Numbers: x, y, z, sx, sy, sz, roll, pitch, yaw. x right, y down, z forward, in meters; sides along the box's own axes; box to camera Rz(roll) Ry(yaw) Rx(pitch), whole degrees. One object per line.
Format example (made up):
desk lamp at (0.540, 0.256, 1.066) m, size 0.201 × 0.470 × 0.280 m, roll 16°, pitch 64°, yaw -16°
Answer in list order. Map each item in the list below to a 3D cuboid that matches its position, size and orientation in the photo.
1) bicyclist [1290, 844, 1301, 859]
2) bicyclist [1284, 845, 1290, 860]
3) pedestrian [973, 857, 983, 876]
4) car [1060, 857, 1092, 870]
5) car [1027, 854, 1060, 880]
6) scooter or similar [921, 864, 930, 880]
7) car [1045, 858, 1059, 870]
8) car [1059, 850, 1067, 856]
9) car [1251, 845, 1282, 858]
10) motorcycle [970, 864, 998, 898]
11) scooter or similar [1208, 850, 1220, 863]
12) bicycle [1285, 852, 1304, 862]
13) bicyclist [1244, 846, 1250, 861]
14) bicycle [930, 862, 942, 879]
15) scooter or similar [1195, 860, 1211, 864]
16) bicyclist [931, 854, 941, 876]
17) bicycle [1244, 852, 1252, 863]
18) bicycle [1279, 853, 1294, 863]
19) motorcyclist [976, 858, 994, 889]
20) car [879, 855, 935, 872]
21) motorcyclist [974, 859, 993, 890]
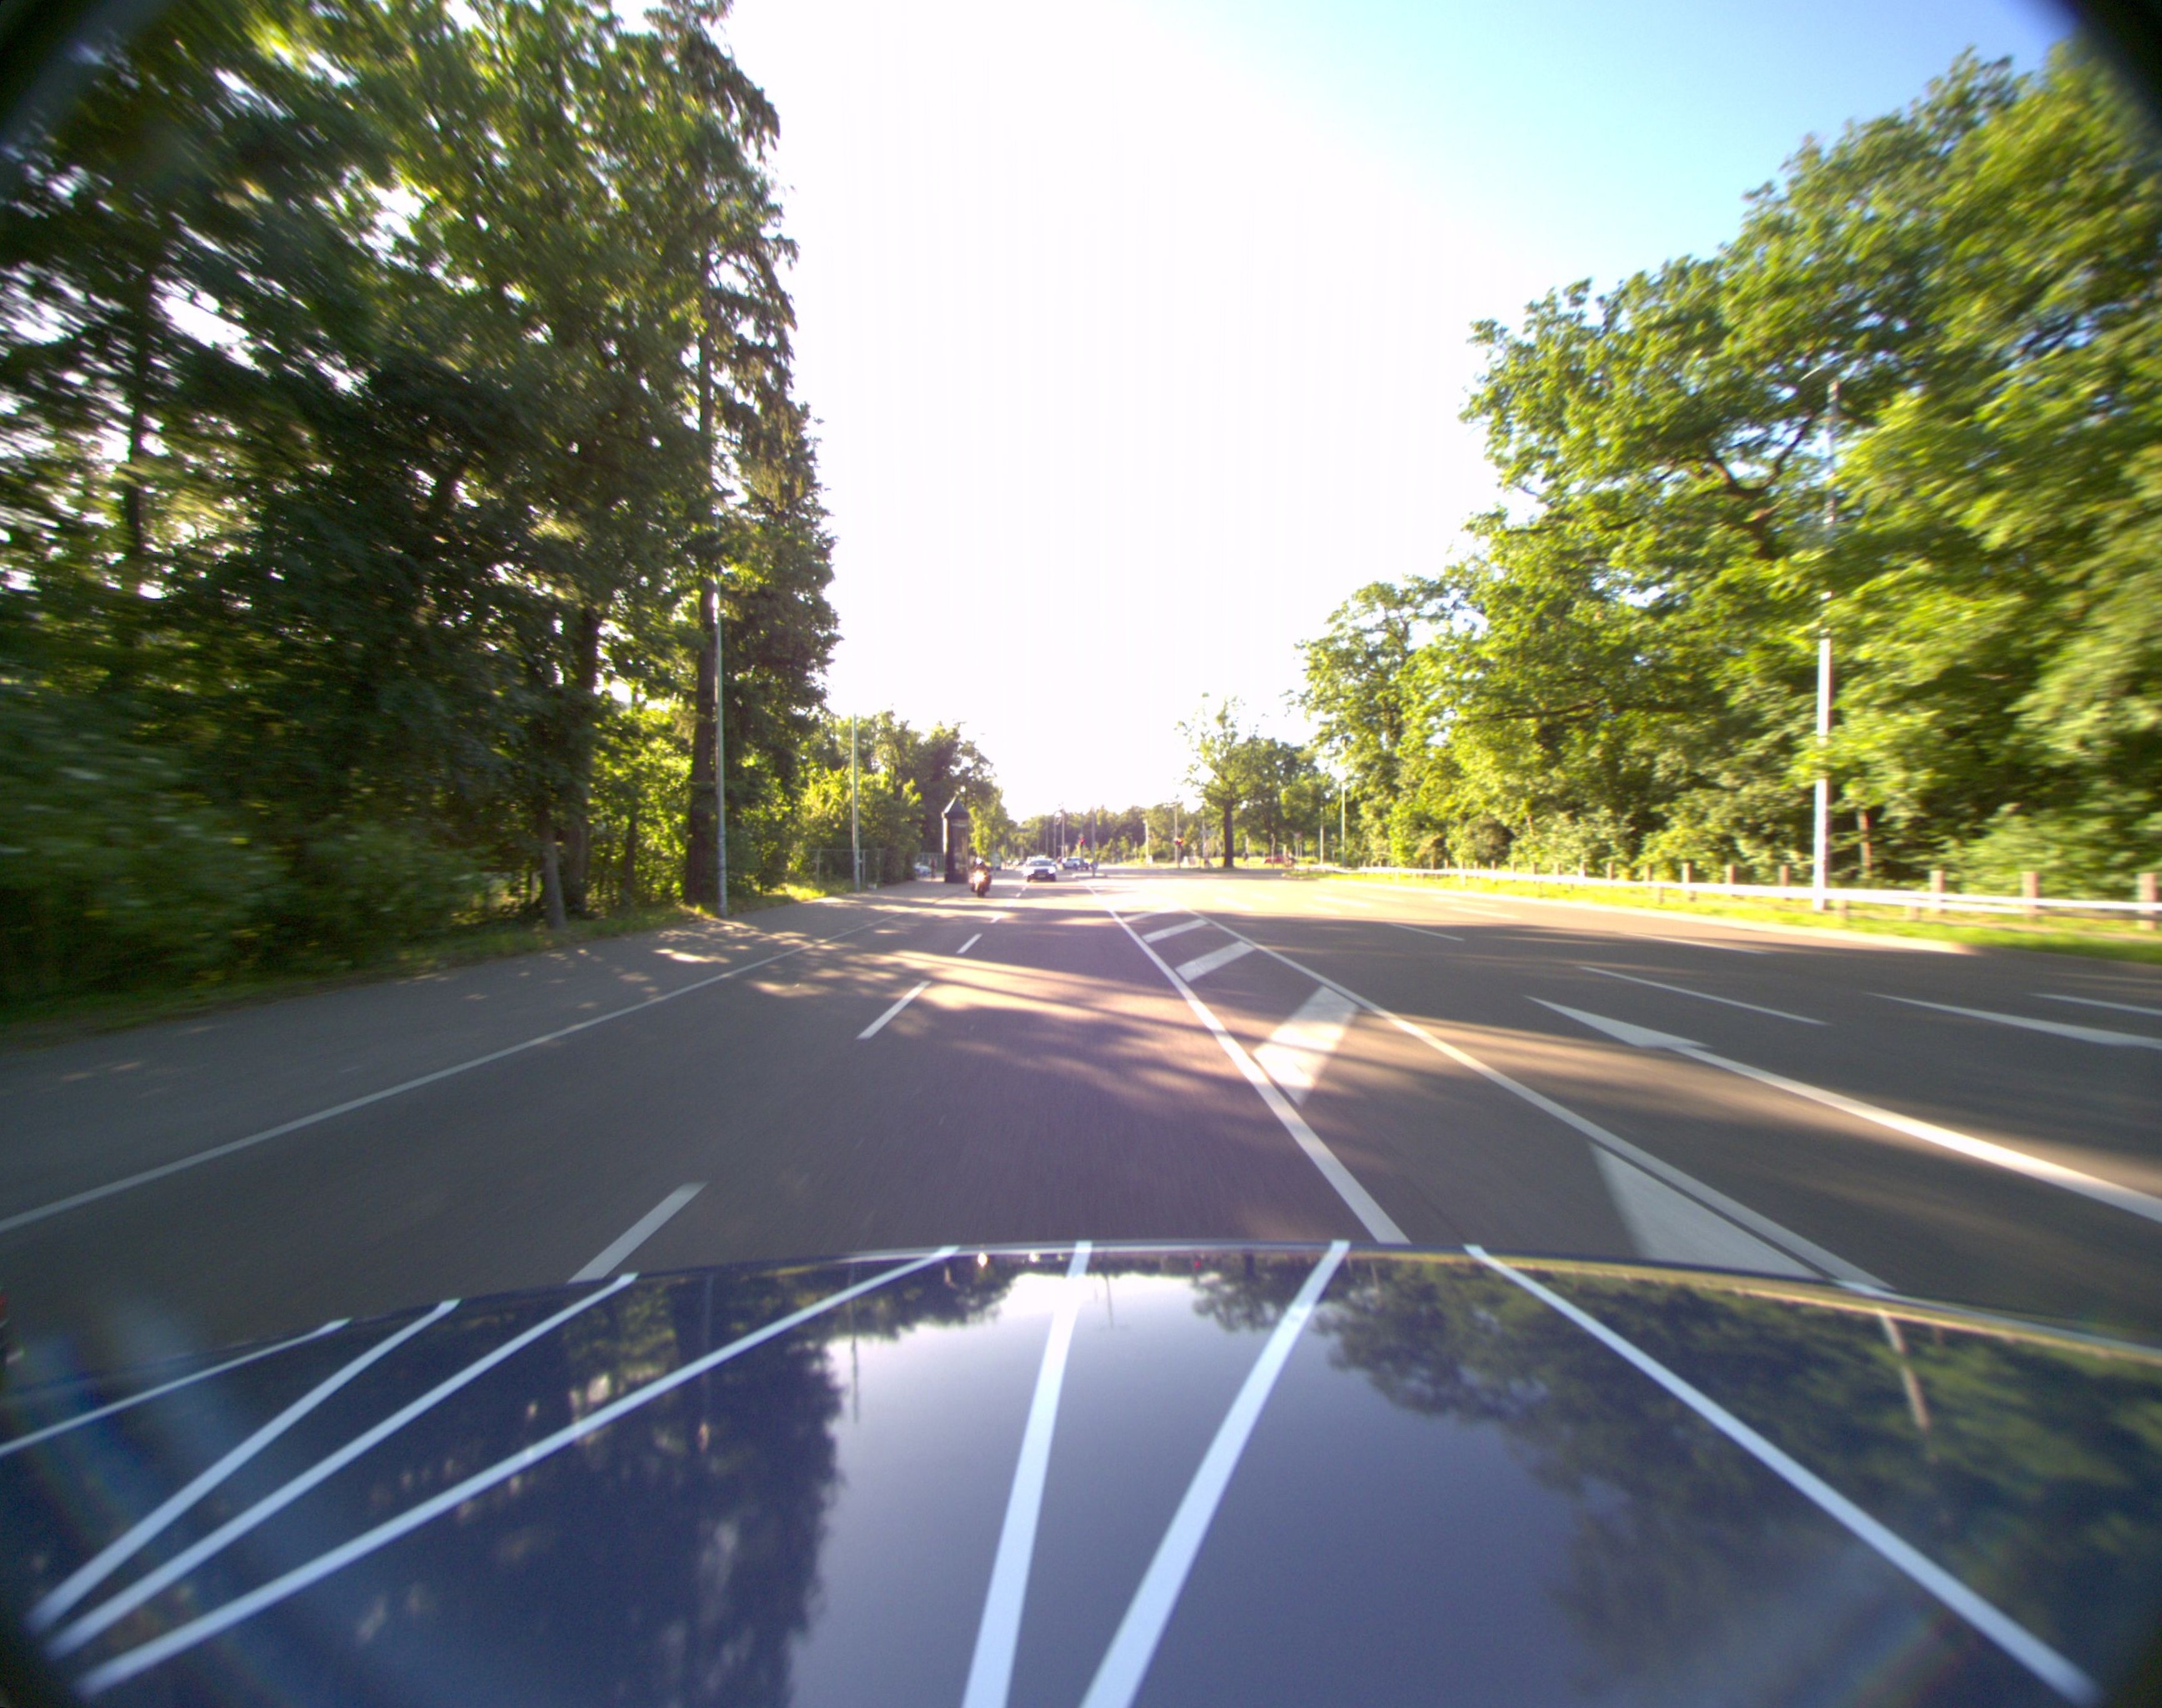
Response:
bicyclist at (21.764, -0.214, 77.224) m, size 0.798 × 1.474 × 0.731 m, roll -2°, pitch 1°, yaw 42°
bicyclist at (20.331, -0.131, 75.053) m, size 0.528 × 1.392 × 0.519 m, roll -2°, pitch 1°, yaw 19°
pedestrian at (-9.459, 1.111, 69.526) m, size 0.627 × 1.678 × 0.883 m, roll -2°, pitch 1°, yaw 6°
car at (-0.603, 1.120, 92.621) m, size 1.842 × 1.504 × 4.290 m, roll -2°, pitch 1°, yaw -32°
car at (-2.465, 0.793, 49.168) m, size 1.868 × 1.538 × 4.794 m, roll -2°, pitch 0°, yaw -5°
scooter or similar at (-12.088, 1.402, 59.036) m, size 0.281 × 1.164 × 1.409 m, roll 0°, pitch 0°, yaw 5°
car at (-3.850, 1.308, 101.143) m, size 1.662 × 1.418 × 4.316 m, roll -2°, pitch 0°, yaw -4°
car at (-4.971, -0.170, 212.205) m, size 1.892 × 1.544 × 4.570 m, roll -2°, pitch 1°, yaw -6°
car at (25.613, -0.355, 104.705) m, size 3.992 × 1.501 × 1.658 m, roll -2°, pitch 1°, yaw 18°
motorcycle at (-4.051, 1.104, 31.925) m, size 0.916 × 1.243 × 2.961 m, roll -4°, pitch 0°, yaw -4°
scooter or similar at (12.641, 0.238, 72.209) m, size 1.069 × 1.140 × 0.394 m, roll -1°, pitch 0°, yaw 4°
bicycle at (21.727, 0.341, 77.290) m, size 1.586 × 0.971 × 0.786 m, roll -2°, pitch 1°, yaw 43°
bicyclist at (17.366, -0.053, 79.454) m, size 0.563 × 1.542 × 0.801 m, roll -2°, pitch -1°, yaw 8°
bicycle at (-9.989, 1.112, 52.364) m, size 0.556 × 1.130 × 1.863 m, roll 0°, pitch 1°, yaw -4°
scooter or similar at (11.888, 0.757, 73.906) m, size 1.410 × 0.337 × 1.260 m, roll -1°, pitch -1°, yaw 4°
bicyclist at (-10.009, 0.752, 52.483) m, size 0.522 × 1.460 × 0.860 m, roll -1°, pitch 1°, yaw -4°
bicycle at (17.429, 0.380, 79.457) m, size 0.681 × 1.147 × 1.986 m, roll -2°, pitch -1°, yaw 9°
bicycle at (20.298, 0.368, 75.080) m, size 1.352 × 0.971 × 0.523 m, roll -2°, pitch 1°, yaw 19°
motorcyclist at (-4.148, 0.833, 32.767) m, size 0.671 × 1.257 × 0.825 m, roll -2°, pitch 1°, yaw -4°
car at (-15.120, 0.813, 66.089) m, size 4.381 × 1.370 × 1.821 m, roll 0°, pitch 1°, yaw 5°
motorcyclist at (-4.098, 0.839, 31.892) m, size 0.671 × 1.257 × 0.825 m, roll -2°, pitch 1°, yaw -4°
